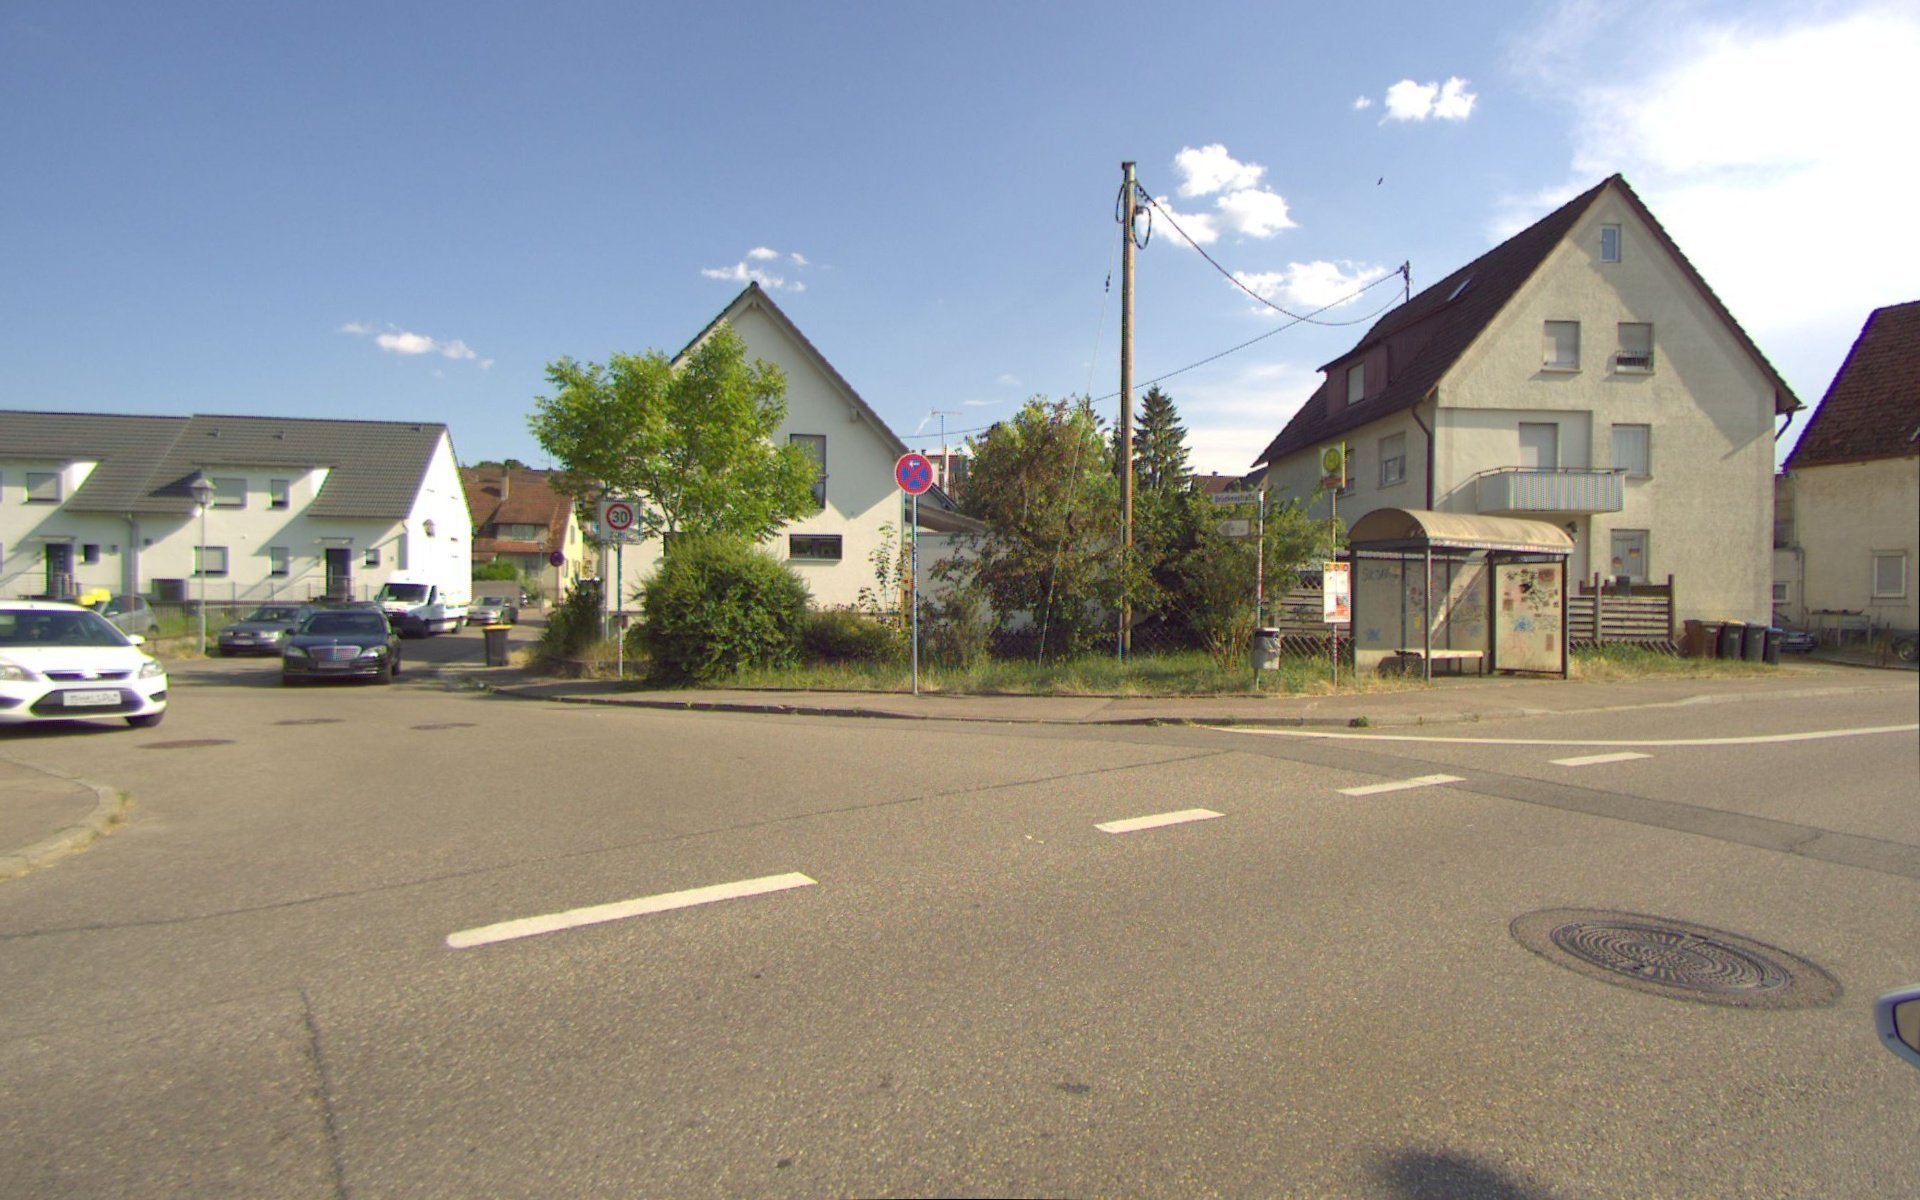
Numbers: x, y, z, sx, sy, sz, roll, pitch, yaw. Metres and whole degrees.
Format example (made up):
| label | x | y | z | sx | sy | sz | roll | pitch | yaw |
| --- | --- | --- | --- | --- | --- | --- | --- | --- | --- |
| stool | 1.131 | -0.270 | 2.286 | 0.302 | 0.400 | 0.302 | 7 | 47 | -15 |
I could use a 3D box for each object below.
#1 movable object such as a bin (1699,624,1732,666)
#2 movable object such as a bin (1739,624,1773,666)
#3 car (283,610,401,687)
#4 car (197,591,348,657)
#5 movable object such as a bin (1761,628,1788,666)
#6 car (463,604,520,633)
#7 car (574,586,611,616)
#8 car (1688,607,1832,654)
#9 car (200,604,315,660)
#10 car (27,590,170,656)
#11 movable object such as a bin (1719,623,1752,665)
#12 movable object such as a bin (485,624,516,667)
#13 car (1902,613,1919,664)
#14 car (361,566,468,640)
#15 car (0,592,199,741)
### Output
| label | x | y | z | sx | sy | sz | roll | pitch | yaw |
| --- | --- | --- | --- | --- | --- | --- | --- | --- | --- |
| movable object such as a bin | 19.213 | 1.148 | 25.552 | 0.547 | 1.029 | 0.362 | 2 | 0 | -6 |
| movable object such as a bin | 20.347 | 1.148 | 25.665 | 0.566 | 1.036 | 0.362 | 2 | 0 | -6 |
| car | -13.113 | 0.961 | 21.558 | 1.749 | 1.450 | 4.811 | 1 | -1 | -27 |
| car | -19.643 | 0.651 | 28.976 | 2.082 | 1.711 | 4.576 | 1 | 0 | -14 |
| movable object such as a bin | 20.868 | 1.203 | 25.737 | 0.392 | 0.937 | 0.362 | 2 | 0 | -5 |
| car | -23.131 | 0.901 | 49.691 | 1.553 | 1.394 | 3.581 | 0 | 0 | -8 |
| car | -27.565 | 0.053 | 75.426 | 1.965 | 2.154 | 3.991 | 1 | 0 | -11 |
| car | 26.688 | 0.978 | 33.684 | 1.653 | 1.379 | 4.000 | 0 | 1 | 0 |
| car | -19.854 | 0.878 | 28.576 | 1.745 | 1.450 | 4.023 | 1 | -1 | -21 |
| car | -23.911 | 0.629 | 28.073 | 1.745 | 1.681 | 4.023 | 1 | -1 | -21 |
| movable object such as a bin | 19.774 | 1.121 | 25.608 | 0.547 | 1.055 | 0.362 | 2 | 0 | -6 |
| movable object such as a bin | -12.249 | 1.203 | 26.756 | 0.694 | 1.105 | 0.681 | 1 | 0 | -30 |
| car | 28.483 | 1.146 | 27.624 | 1.620 | 1.452 | 4.001 | 1 | 1 | 5 |
| car | -21.592 | 0.172 | 40.073 | 2.077 | 2.713 | 5.603 | 1 | -1 | -11 |
| car | -11.130 | 0.690 | 12.005 | 4.201 | 1.512 | 1.858 | 0 | -1 | 32 |
